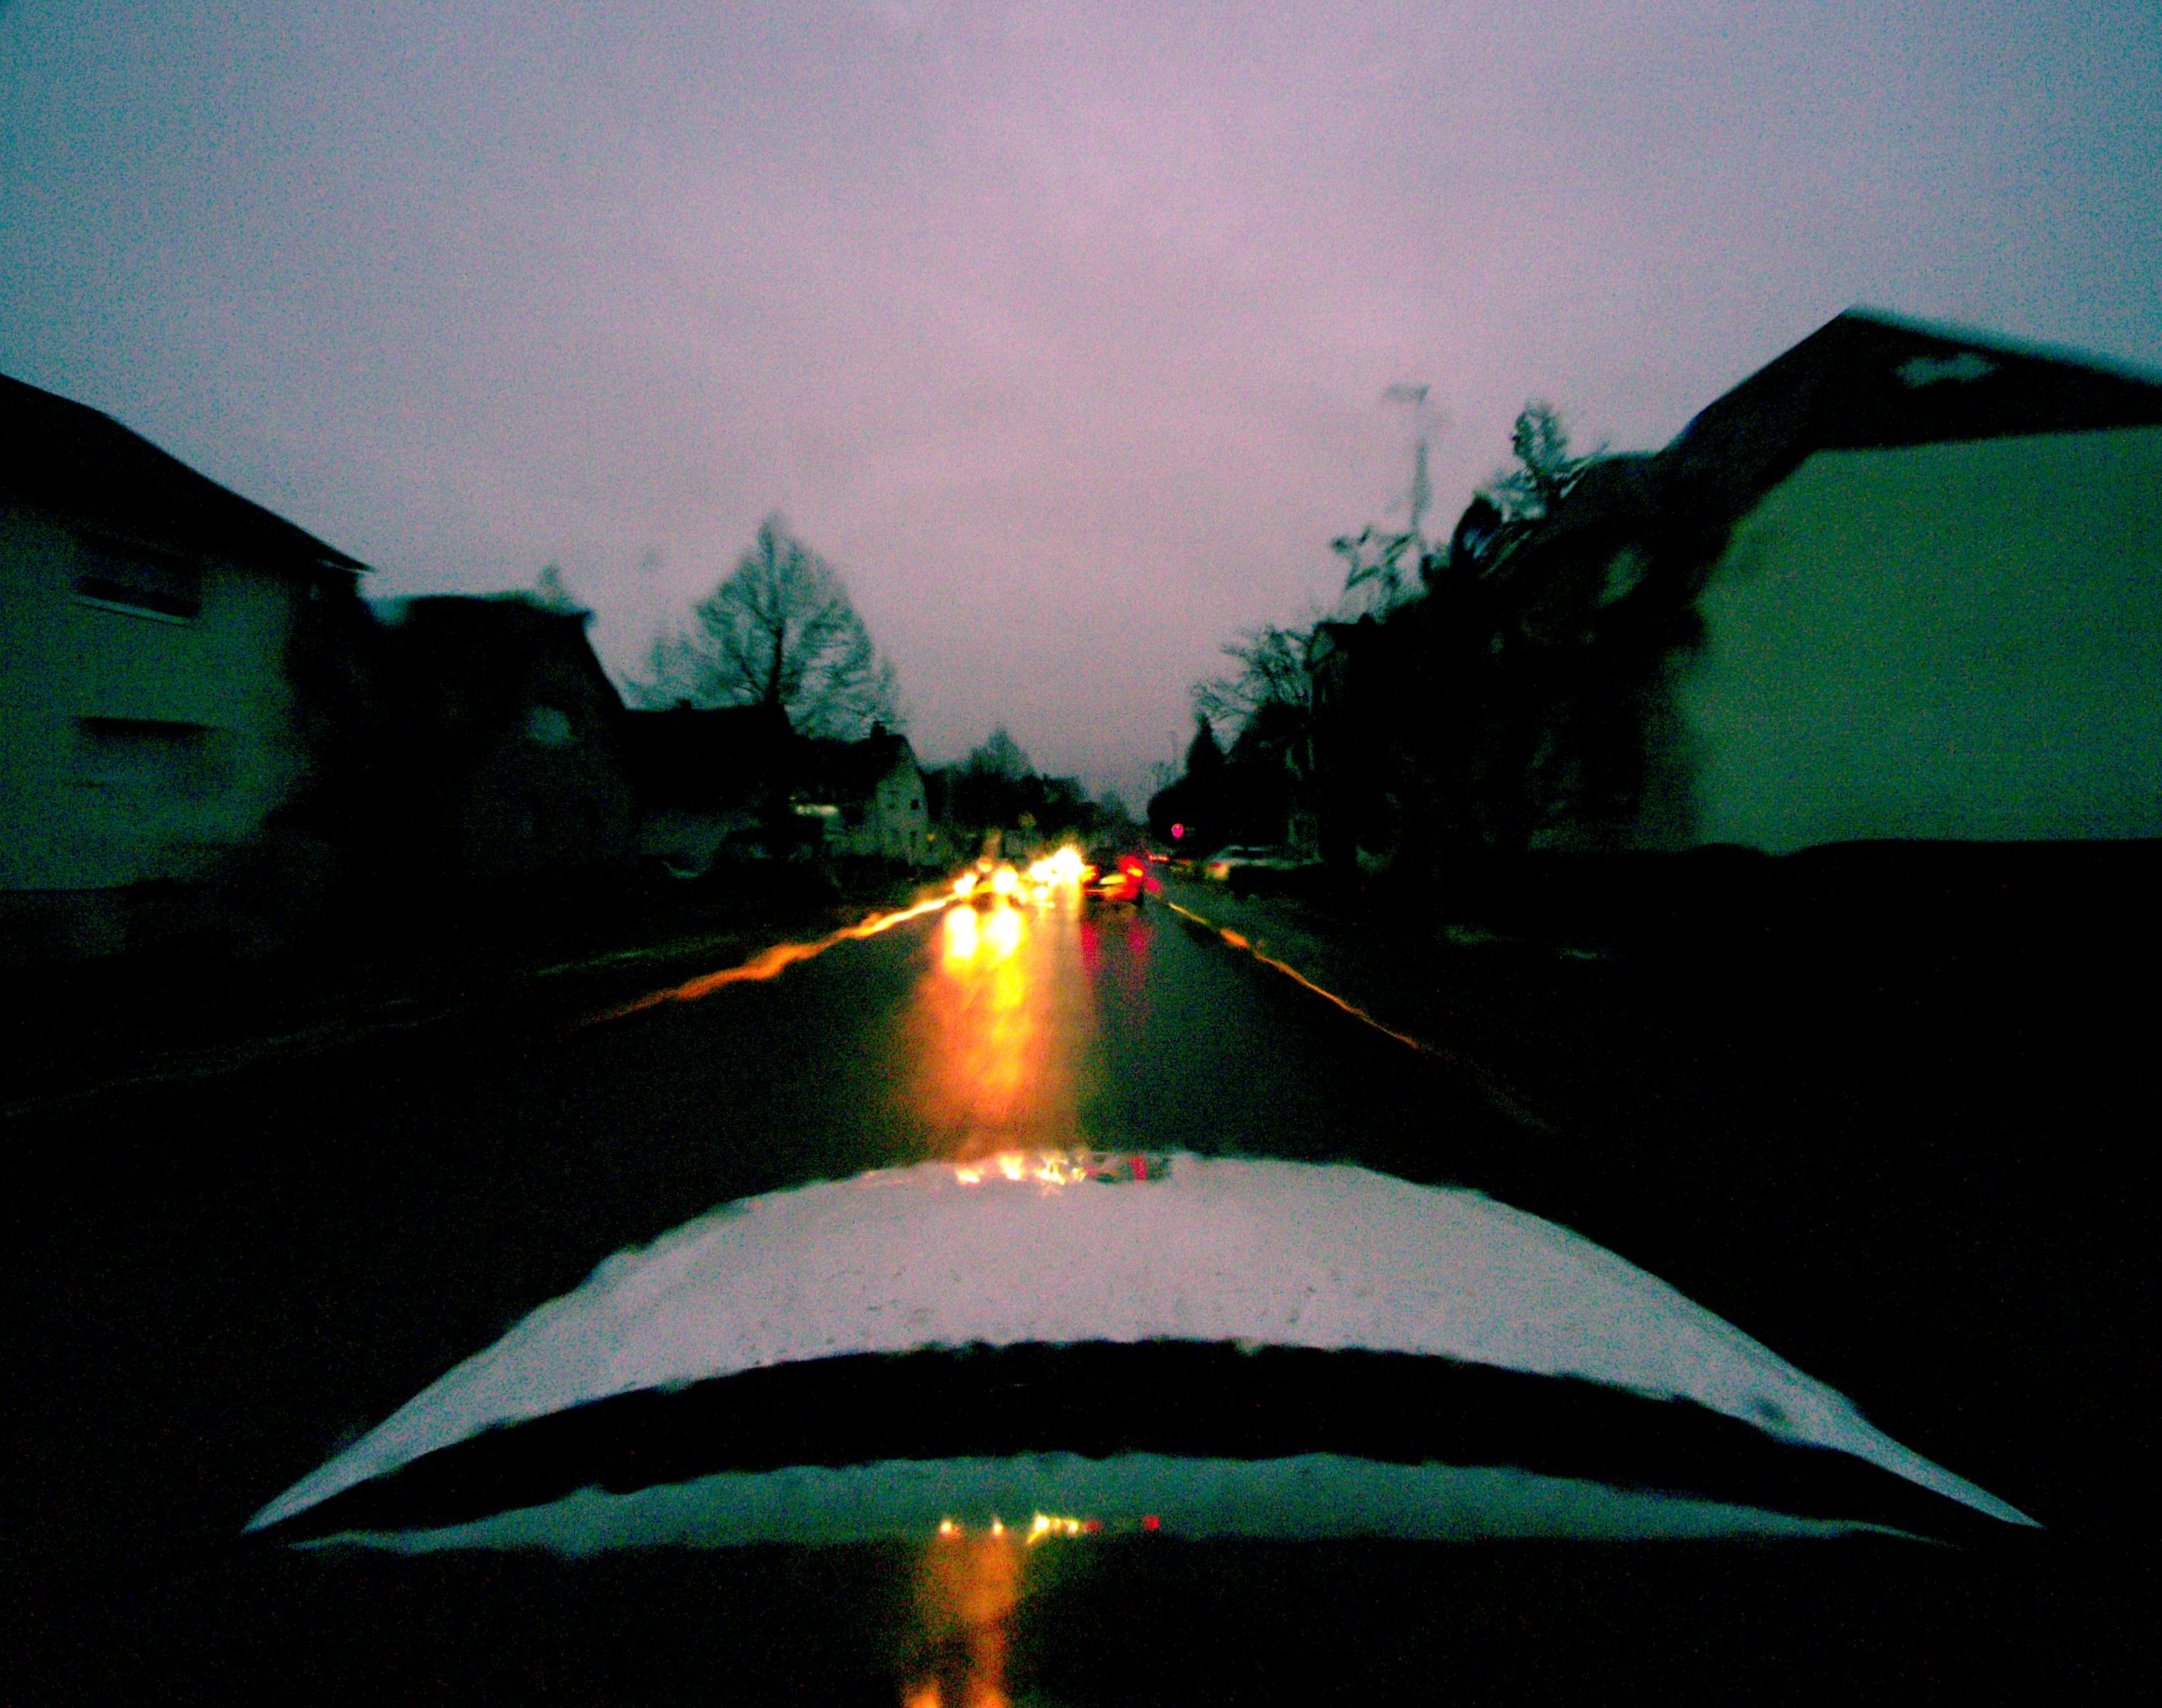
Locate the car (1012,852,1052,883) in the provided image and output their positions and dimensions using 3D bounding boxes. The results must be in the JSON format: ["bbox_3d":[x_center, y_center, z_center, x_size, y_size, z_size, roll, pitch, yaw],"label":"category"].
[{"bbox_3d":[-2.565,0.672,43.176,1.698,1.441,4.425,-3,0,1],"label":"car"}]

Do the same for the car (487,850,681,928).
[{"bbox_3d":[-12.641,0.808,21.147,1.985,1.756,4.572,-2,0,3],"label":"car"}]

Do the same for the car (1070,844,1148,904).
[{"bbox_3d":[0.753,0.505,22.801,1.987,1.525,4.001,-1,0,1],"label":"car"}]

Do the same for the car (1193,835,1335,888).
[{"bbox_3d":[6.389,0.254,28.854,4.709,1.629,1.910,-2,0,6],"label":"car"}]

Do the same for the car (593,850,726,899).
[{"bbox_3d":[-17.154,0.819,33.238,4.525,1.800,1.917,-2,0,9],"label":"car"}]

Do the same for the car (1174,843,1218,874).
[{"bbox_3d":[6.219,0.216,44.386,1.886,1.554,4.758,-1,0,2],"label":"car"}]

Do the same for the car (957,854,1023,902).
[{"bbox_3d":[-3.044,0.761,27.976,1.698,1.441,4.001,-3,0,1],"label":"car"}]

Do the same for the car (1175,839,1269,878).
[{"bbox_3d":[6.518,0.229,38.035,4.087,1.706,2.000,-1,-1,1],"label":"car"}]

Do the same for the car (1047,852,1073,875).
[{"bbox_3d":[-1.642,0.713,64.576,1.807,1.633,4.226,-3,0,1],"label":"car"}]

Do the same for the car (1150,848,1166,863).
[{"bbox_3d":[10.708,0.229,113.178,1.983,2.013,4.007,-2,0,6],"label":"car"}]
